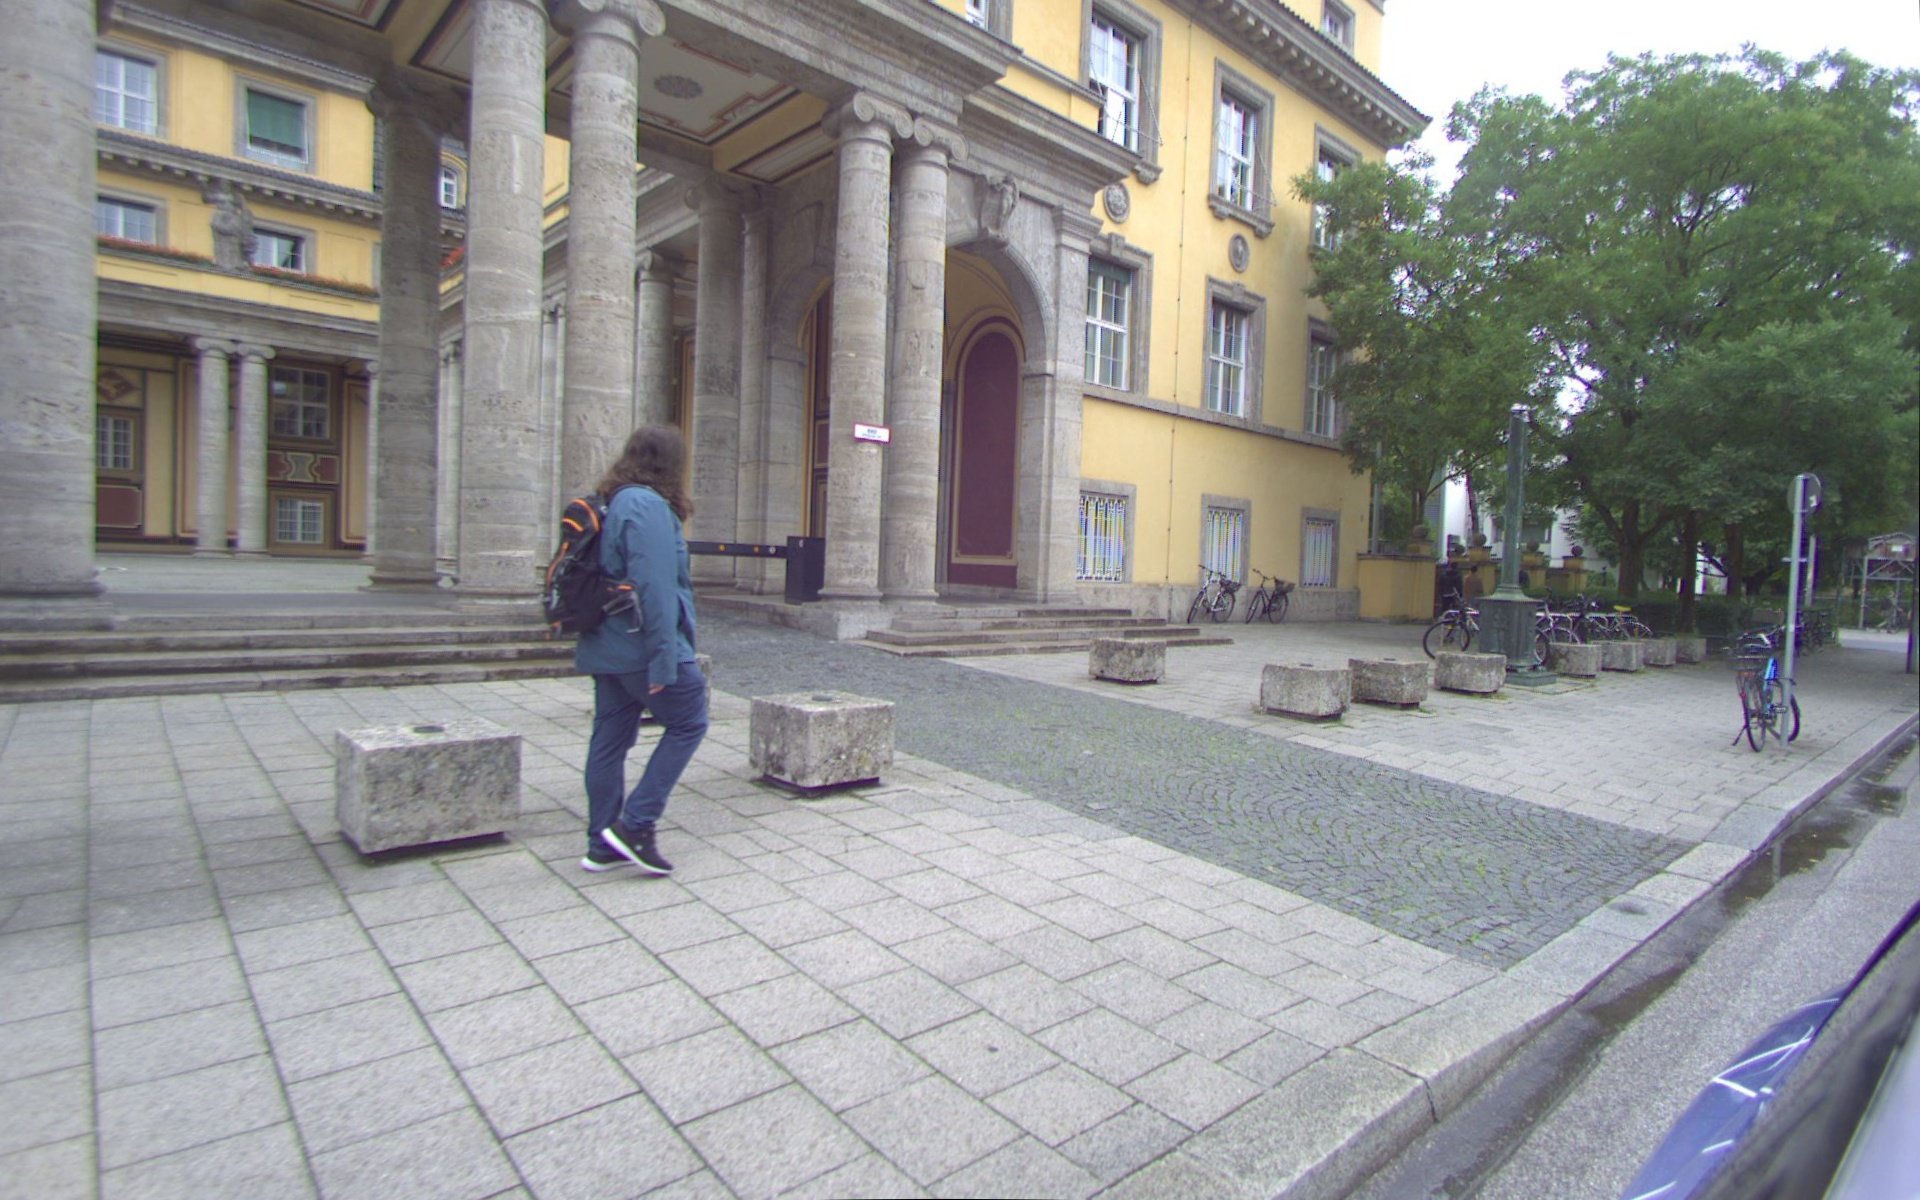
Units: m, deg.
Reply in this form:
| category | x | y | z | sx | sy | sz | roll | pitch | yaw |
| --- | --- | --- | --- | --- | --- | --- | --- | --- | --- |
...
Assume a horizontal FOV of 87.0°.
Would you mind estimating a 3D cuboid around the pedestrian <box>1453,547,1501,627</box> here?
| category | x | y | z | sx | sy | sz | roll | pitch | yaw |
| --- | --- | --- | --- | --- | --- | --- | --- | --- | --- |
| pedestrian | 12.757 | -0.323 | 24.984 | 0.807 | 1.887 | 0.658 | 0 | 6 | -42 |

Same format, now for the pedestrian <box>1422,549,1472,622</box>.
| category | x | y | z | sx | sy | sz | roll | pitch | yaw |
| --- | --- | --- | --- | --- | --- | --- | --- | --- | --- |
| pedestrian | 12.272 | -0.382 | 25.519 | 0.827 | 1.764 | 0.741 | 0 | 6 | -42 |

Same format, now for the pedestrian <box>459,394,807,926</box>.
| category | x | y | z | sx | sy | sz | roll | pitch | yaw |
| --- | --- | --- | --- | --- | --- | --- | --- | --- | --- |
| pedestrian | -1.288 | 0.180 | 3.998 | 1.038 | 1.767 | 0.789 | 0 | 3 | -42 |

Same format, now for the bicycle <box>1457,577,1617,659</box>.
| category | x | y | z | sx | sy | sz | roll | pitch | yaw |
| --- | --- | --- | --- | --- | --- | --- | --- | --- | --- |
| bicycle | 9.987 | 0.276 | 17.588 | 2.255 | 1.071 | 0.594 | 10 | 7 | 37 |

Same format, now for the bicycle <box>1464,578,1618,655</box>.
| category | x | y | z | sx | sy | sz | roll | pitch | yaw |
| --- | --- | --- | --- | --- | --- | --- | --- | --- | --- |
| bicycle | 10.501 | 0.272 | 18.361 | 2.255 | 1.035 | 0.594 | 10 | 7 | 37 |

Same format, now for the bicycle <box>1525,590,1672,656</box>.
| category | x | y | z | sx | sy | sz | roll | pitch | yaw |
| --- | --- | --- | --- | --- | --- | --- | --- | --- | --- |
| bicycle | 12.277 | 0.409 | 19.545 | 0.591 | 1.023 | 2.263 | 2 | 4 | -39 |

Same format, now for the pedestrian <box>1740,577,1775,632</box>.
| category | x | y | z | sx | sy | sz | roll | pitch | yaw |
| --- | --- | --- | --- | --- | --- | --- | --- | --- | --- |
| pedestrian | 25.879 | 0.142 | 32.846 | 0.649 | 1.753 | 0.797 | 0 | 0 | -43 |

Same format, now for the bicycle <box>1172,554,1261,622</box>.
| category | x | y | z | sx | sy | sz | roll | pitch | yaw |
| --- | --- | --- | --- | --- | --- | --- | --- | --- | --- |
| bicycle | 5.337 | -0.250 | 20.973 | 2.225 | 1.323 | 0.601 | 0 | 3 | -42 |

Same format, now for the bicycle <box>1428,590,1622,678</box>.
| category | x | y | z | sx | sy | sz | roll | pitch | yaw |
| --- | --- | --- | --- | --- | --- | --- | --- | --- | --- |
| bicycle | 8.344 | 0.461 | 15.036 | 2.361 | 1.018 | 0.668 | 7 | 5 | 40 |

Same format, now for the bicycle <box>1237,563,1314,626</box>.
| category | x | y | z | sx | sy | sz | roll | pitch | yaw |
| --- | --- | --- | --- | --- | --- | --- | --- | --- | --- |
| bicycle | 7.044 | -0.133 | 22.539 | 2.128 | 1.323 | 0.601 | 0 | 3 | -43 |

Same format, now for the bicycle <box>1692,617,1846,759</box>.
| category | x | y | z | sx | sy | sz | roll | pitch | yaw |
| --- | --- | --- | --- | --- | --- | --- | --- | --- | --- |
| bicycle | 7.815 | 0.777 | 9.735 | 2.226 | 1.113 | 0.762 | 0 | 5 | -43 |

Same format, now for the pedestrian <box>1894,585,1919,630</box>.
| category | x | y | z | sx | sy | sz | roll | pitch | yaw |
| --- | --- | --- | --- | --- | --- | --- | --- | --- | --- |
| pedestrian | 40.745 | 0.304 | 43.548 | 0.774 | 1.889 | 0.983 | 0 | 0 | 40 |

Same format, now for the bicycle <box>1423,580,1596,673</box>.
| category | x | y | z | sx | sy | sz | roll | pitch | yaw |
| --- | --- | --- | --- | --- | --- | --- | --- | --- | --- |
| bicycle | 8.712 | 0.383 | 16.129 | 2.255 | 1.107 | 0.594 | 10 | 7 | 37 |

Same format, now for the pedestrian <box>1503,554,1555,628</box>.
| category | x | y | z | sx | sy | sz | roll | pitch | yaw |
| --- | --- | --- | --- | --- | --- | --- | --- | --- | --- |
| pedestrian | 15.247 | -0.245 | 27.137 | 1.017 | 1.887 | 0.782 | 0 | 6 | -42 |
